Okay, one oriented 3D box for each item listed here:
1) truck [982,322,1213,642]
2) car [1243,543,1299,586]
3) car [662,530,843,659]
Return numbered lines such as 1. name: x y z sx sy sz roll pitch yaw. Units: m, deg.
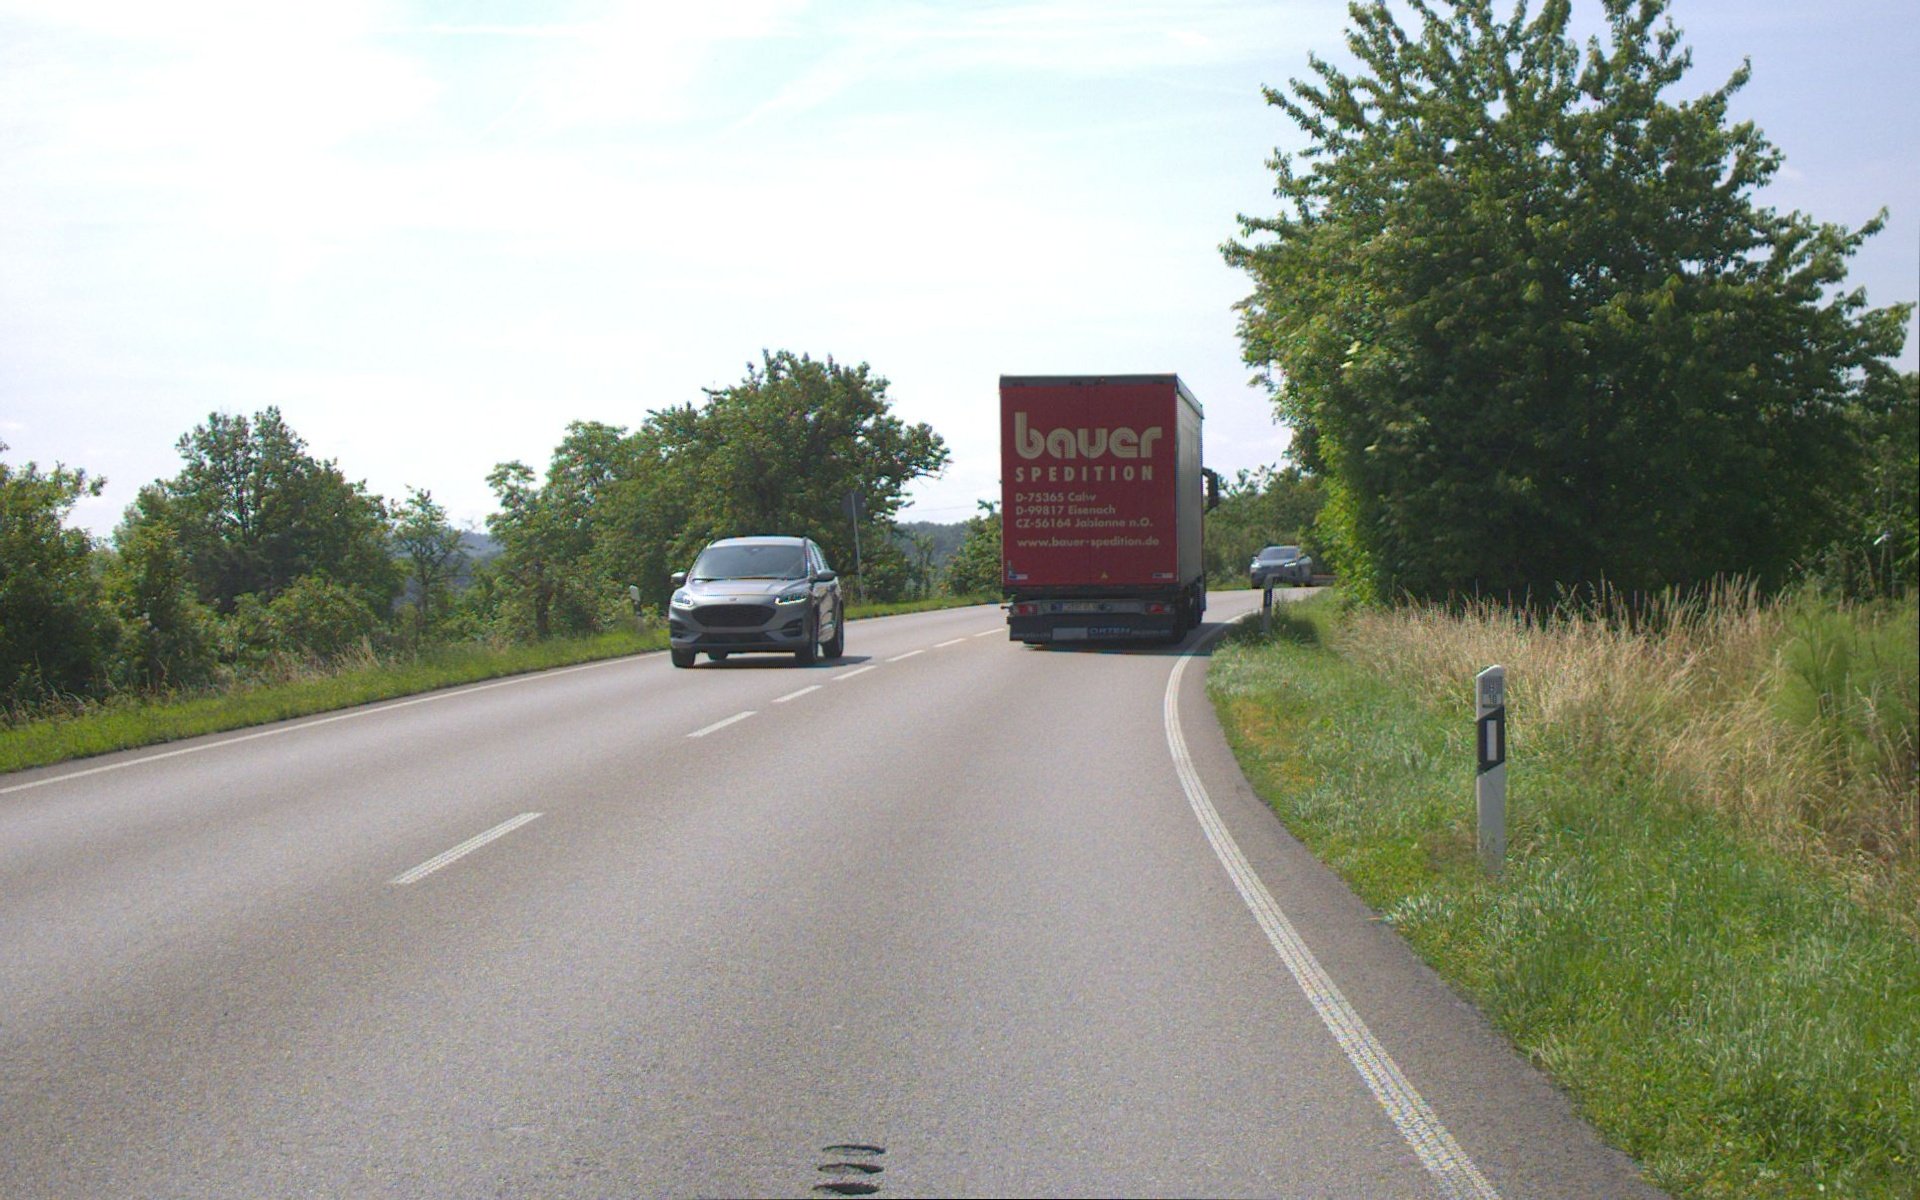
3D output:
1. truck: 2.382 -1.675 54.679 3.113 4.490 12.165 1 0 5
2. car: 11.918 -1.367 131.434 1.880 1.587 4.490 -1 1 8
3. car: -2.678 -0.098 45.253 1.957 1.599 4.401 -1 1 2
